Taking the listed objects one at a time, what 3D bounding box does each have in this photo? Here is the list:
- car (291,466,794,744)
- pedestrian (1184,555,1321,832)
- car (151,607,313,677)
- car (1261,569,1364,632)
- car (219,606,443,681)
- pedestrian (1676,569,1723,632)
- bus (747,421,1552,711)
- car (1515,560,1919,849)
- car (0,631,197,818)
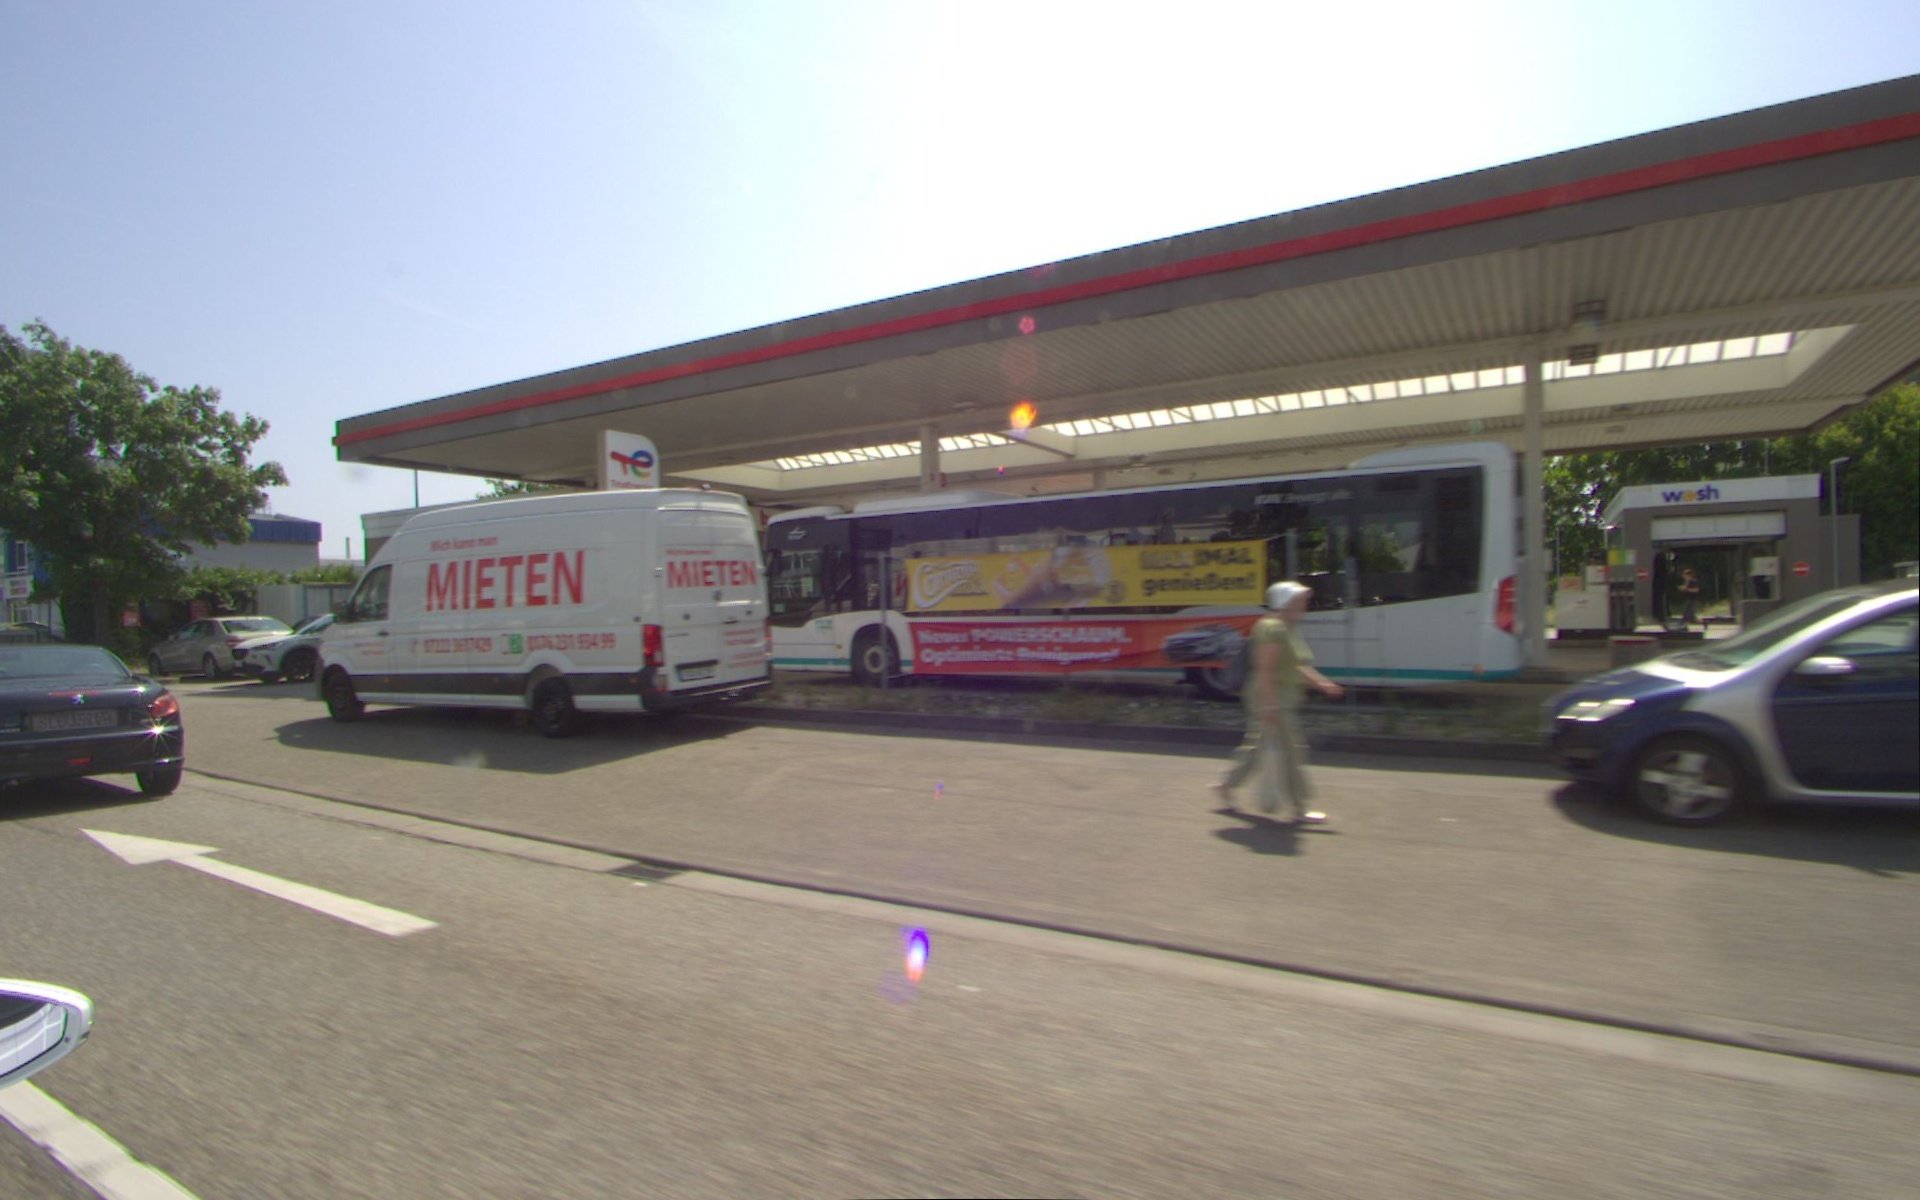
[{"bbox_3d":[-5.701,0.073,13.141,7.202,2.879,2.128,-1,2,31],"label":"car"},{"bbox_3d":[2.034,0.598,6.918,0.693,1.772,0.813,-1,1,30],"label":"pedestrian"},{"bbox_3d":[-17.816,1.048,24.479,3.941,1.530,1.747,-3,-2,30],"label":"car"},{"bbox_3d":[12.001,0.085,34.377,1.896,1.909,4.002,-2,-2,-3],"label":"car"},{"bbox_3d":[-14.230,0.966,22.831,1.725,1.530,3.972,-4,-3,38],"label":"car"},{"bbox_3d":[20.229,0.025,27.412,0.863,1.673,0.766,-3,-2,28],"label":"pedestrian"},{"bbox_3d":[1.984,-0.338,15.408,12.116,3.119,2.797,0,0,35],"label":"bus"},{"bbox_3d":[5.620,0.557,6.214,3.764,1.540,1.653,-1,3,31],"label":"car"},{"bbox_3d":[-8.700,1.016,9.216,3.611,1.443,1.596,-1,-1,34],"label":"car"}]
